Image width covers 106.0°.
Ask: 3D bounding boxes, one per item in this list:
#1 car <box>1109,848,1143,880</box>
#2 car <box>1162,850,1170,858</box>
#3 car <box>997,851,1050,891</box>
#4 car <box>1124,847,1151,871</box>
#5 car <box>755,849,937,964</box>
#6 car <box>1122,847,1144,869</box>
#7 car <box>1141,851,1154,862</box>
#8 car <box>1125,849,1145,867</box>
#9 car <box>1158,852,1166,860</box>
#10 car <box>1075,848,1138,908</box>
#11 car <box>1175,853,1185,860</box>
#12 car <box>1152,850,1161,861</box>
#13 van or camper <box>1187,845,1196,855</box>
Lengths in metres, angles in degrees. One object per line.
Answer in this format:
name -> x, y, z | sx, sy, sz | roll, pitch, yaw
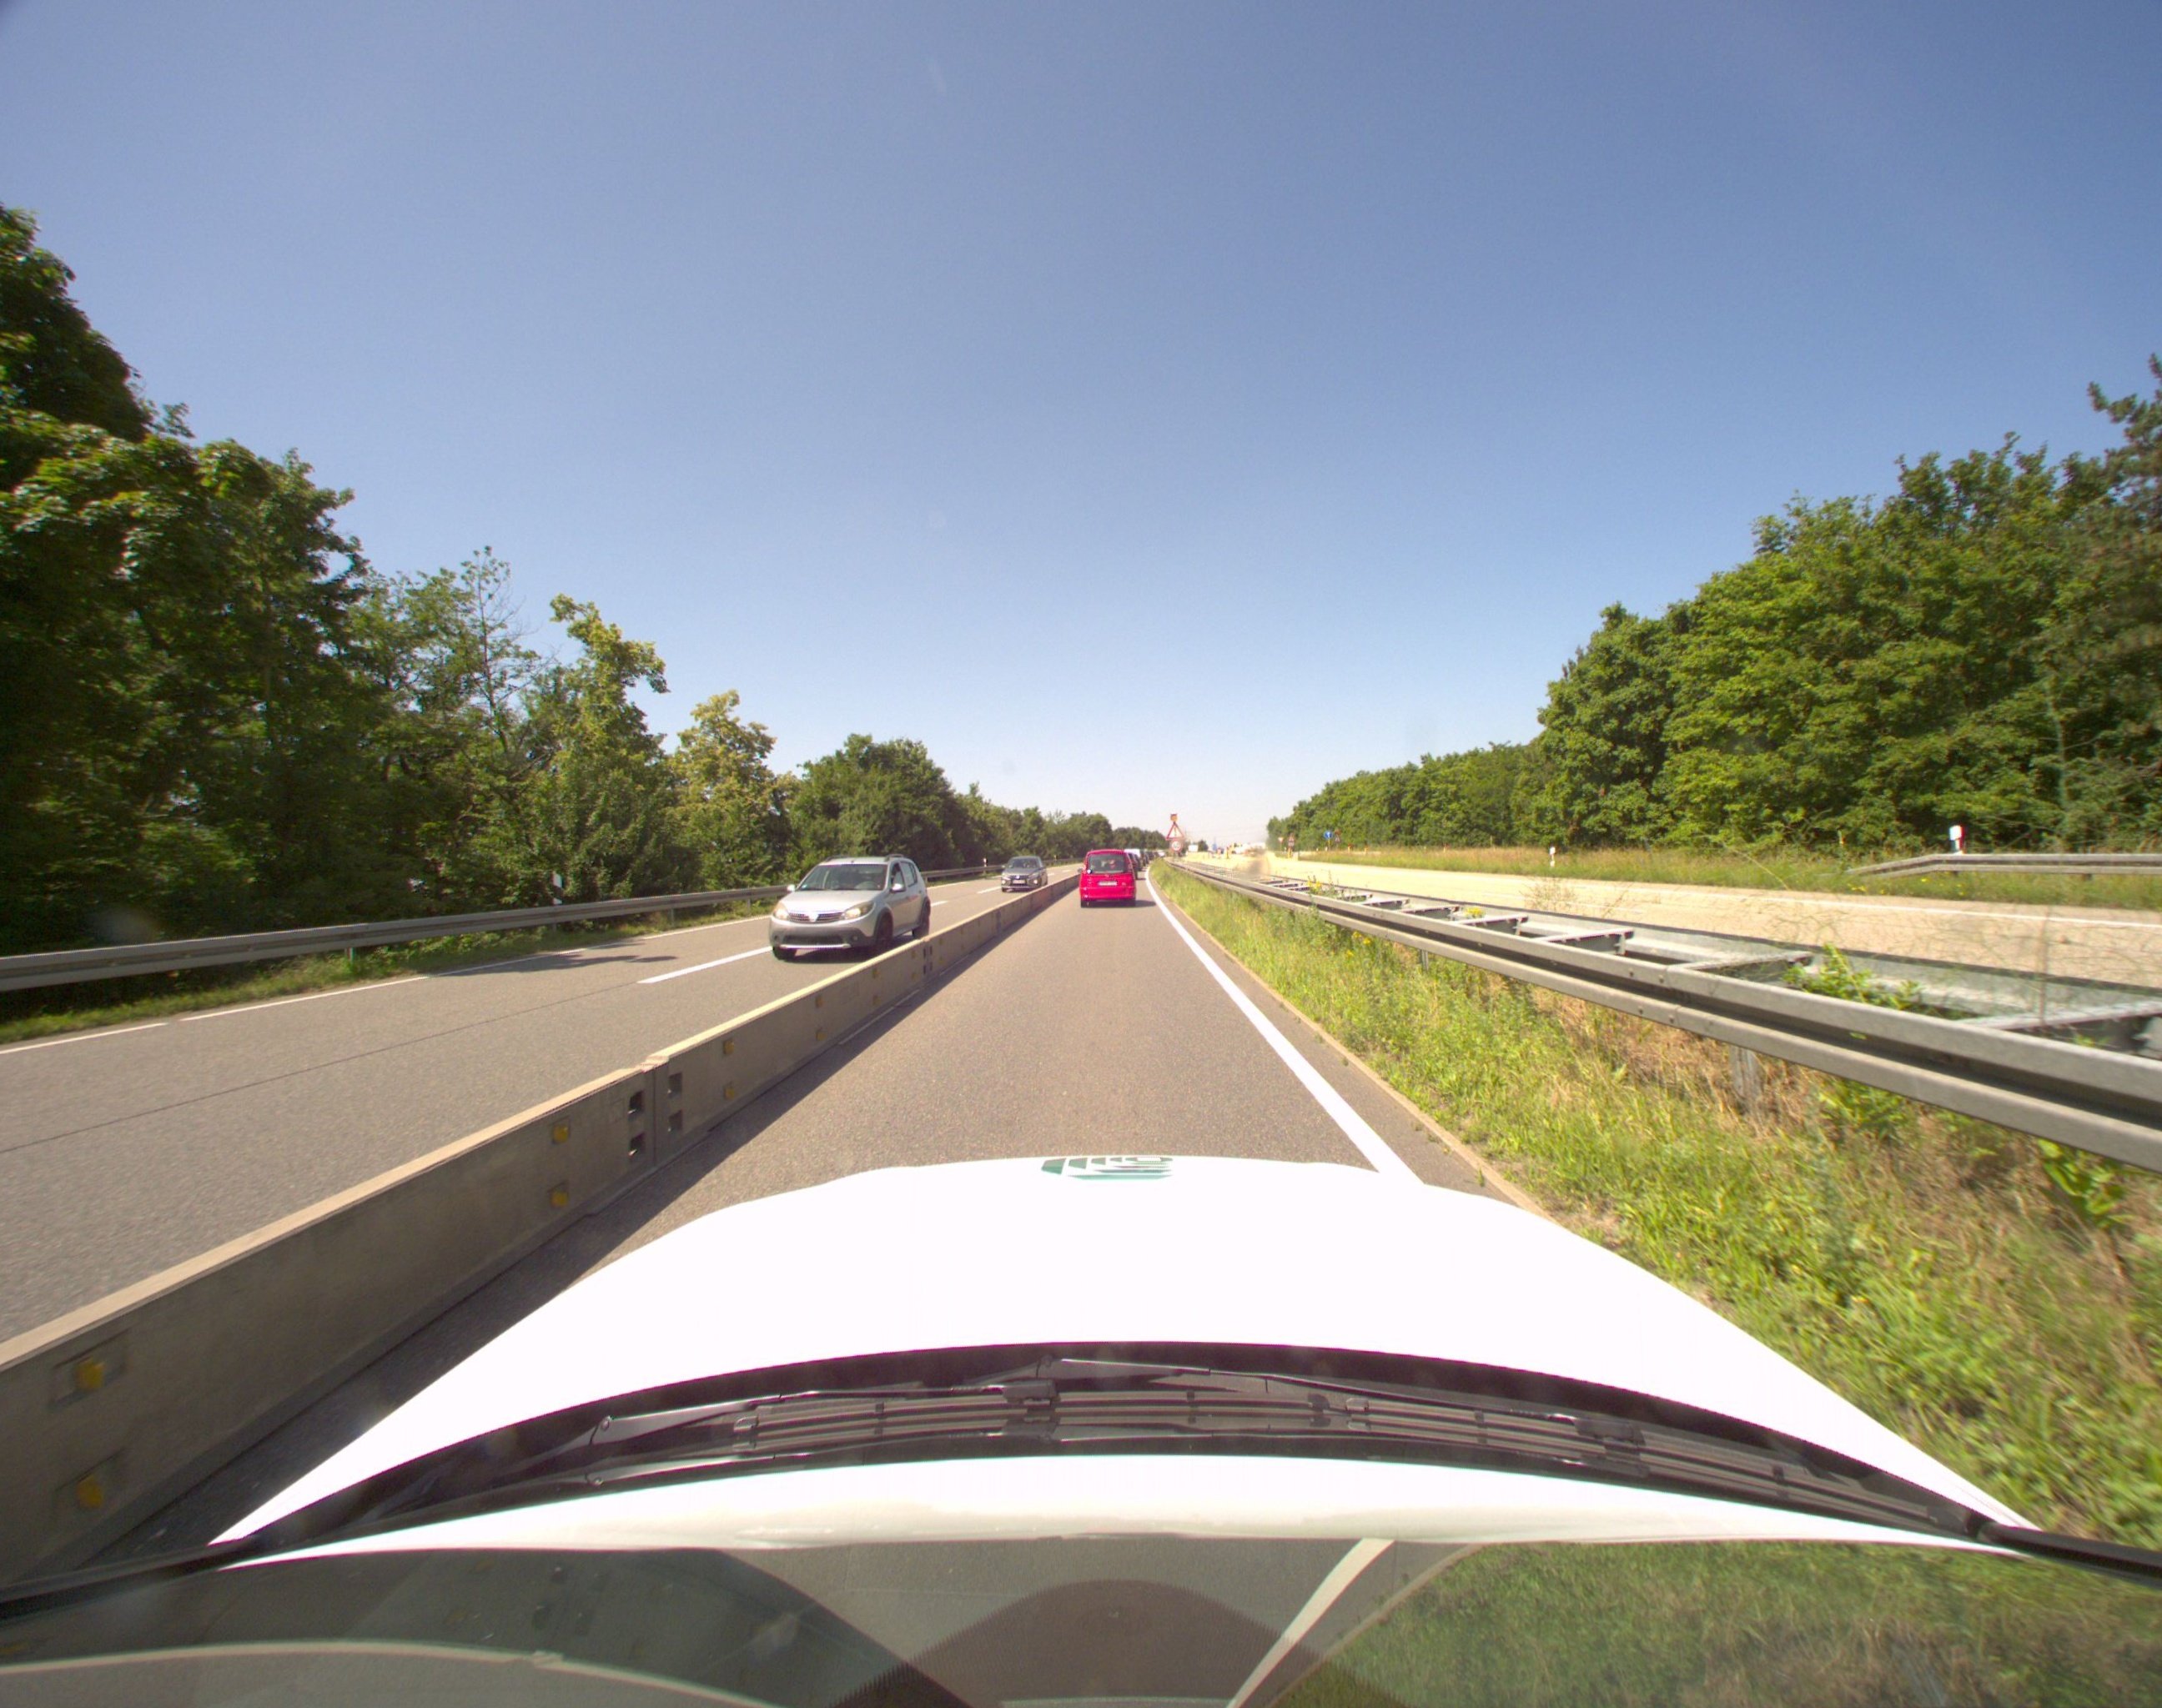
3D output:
car -> 2.657, 0.539, 47.630 | 1.822, 1.722, 4.004 | -2, 0, 4
car -> 17.415, -0.015, 166.751 | 1.493, 1.450, 3.177 | -1, 0, 8
car -> -2.440, 0.718, 35.639 | 1.942, 1.579, 4.435 | -2, 0, 0
car -> 4.598, 0.384, 66.394 | 1.986, 1.838, 4.002 | -2, 0, 2
car -> -3.781, 0.779, 13.816 | 1.822, 1.630, 3.786 | -2, 0, 2
car -> 4.839, 0.336, 76.774 | 1.985, 2.003, 4.003 | -1, 0, 3
car -> 9.906, 0.383, 121.148 | 1.984, 1.585, 4.006 | -1, 0, 5
car -> 5.790, 0.423, 88.036 | 1.986, 1.750, 4.002 | -2, 0, 2
car -> 15.064, 0.357, 151.250 | 1.413, 1.298, 2.885 | -3, 0, 8
car -> 0.757, 0.681, 25.035 | 1.746, 1.673, 4.000 | -1, 0, 1
car -> 23.171, 0.664, 190.753 | 1.984, 1.552, 4.006 | -1, 0, 5
car -> 12.584, 0.239, 136.184 | 1.494, 1.736, 3.175 | -1, 0, 6
van or camper -> 32.060, -1.088, 236.238 | 2.318, 2.707, 4.597 | -2, 0, 3
